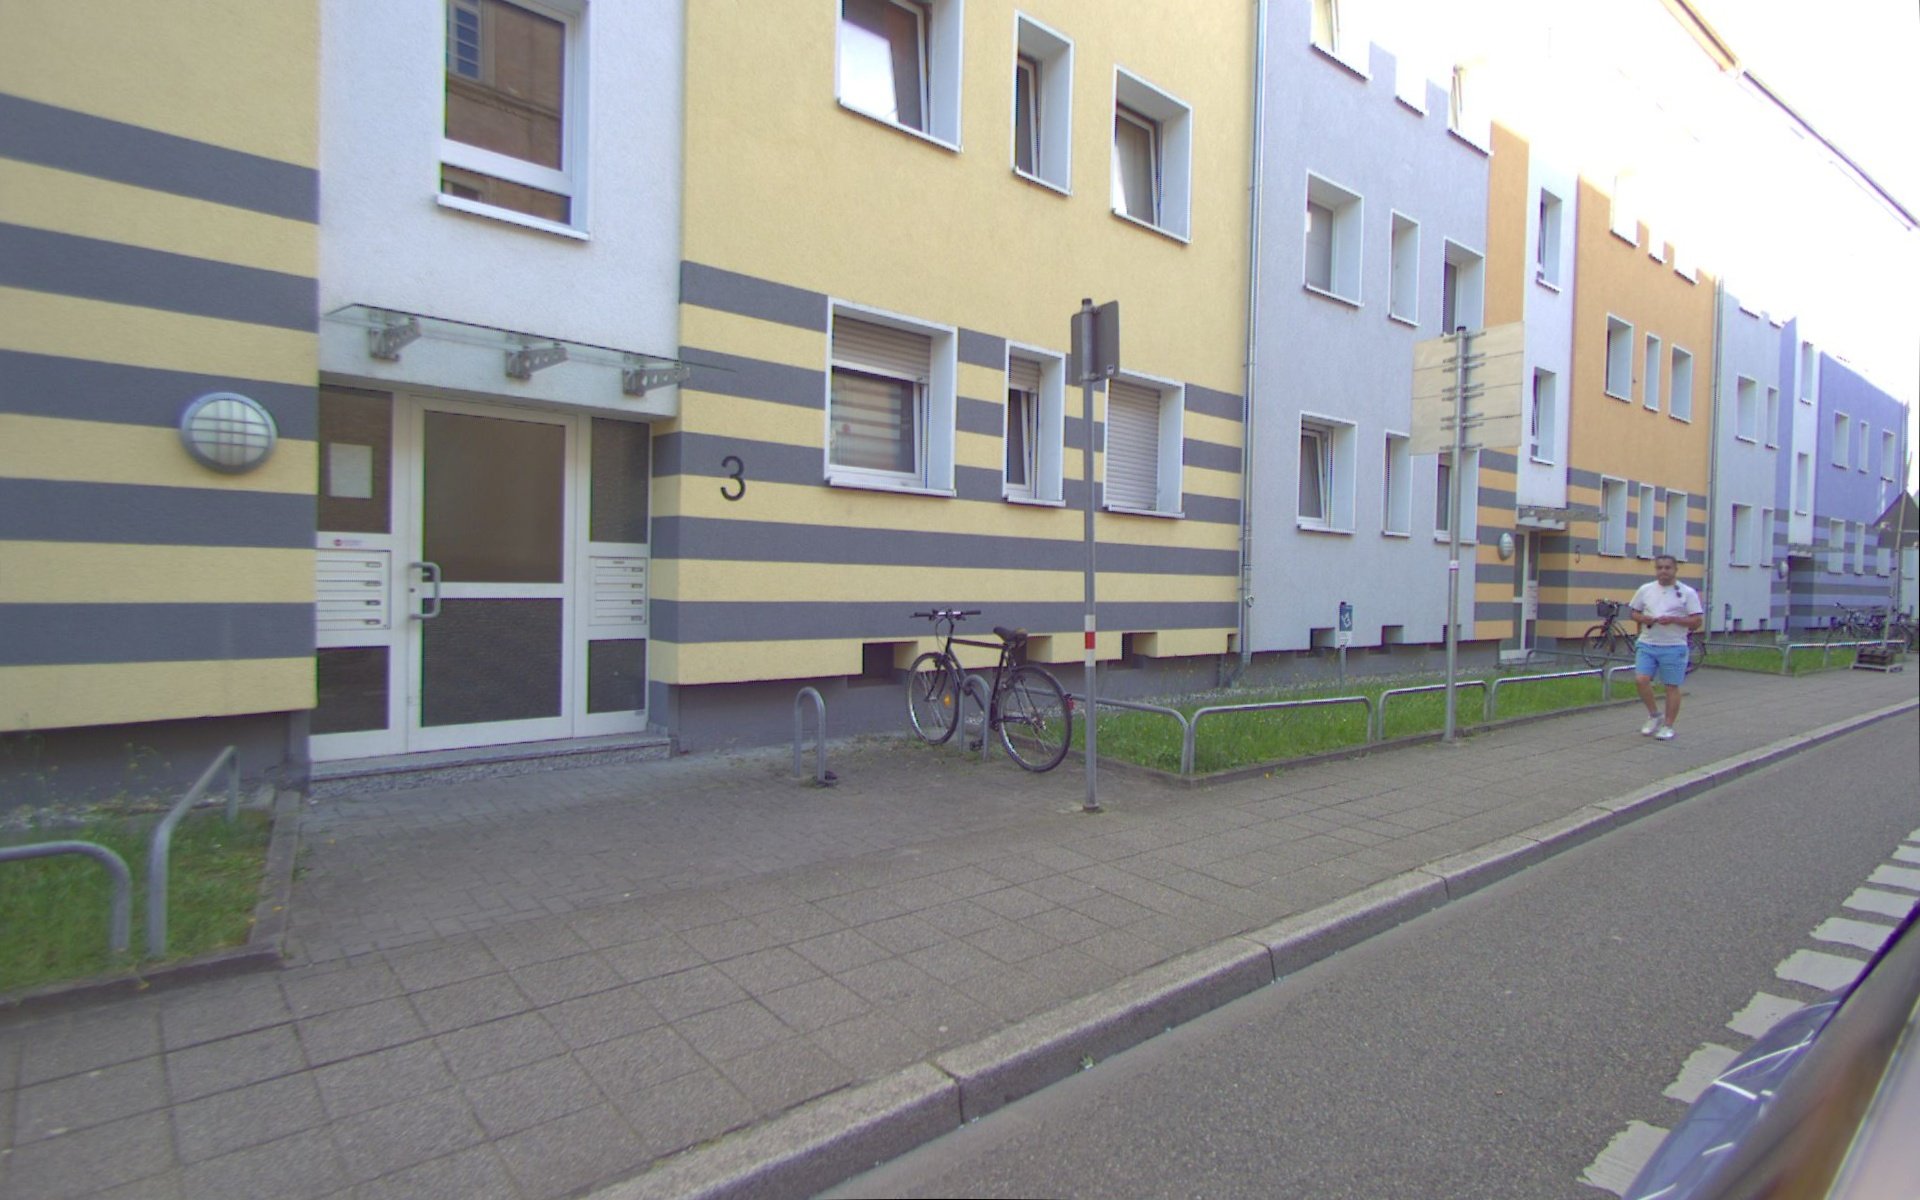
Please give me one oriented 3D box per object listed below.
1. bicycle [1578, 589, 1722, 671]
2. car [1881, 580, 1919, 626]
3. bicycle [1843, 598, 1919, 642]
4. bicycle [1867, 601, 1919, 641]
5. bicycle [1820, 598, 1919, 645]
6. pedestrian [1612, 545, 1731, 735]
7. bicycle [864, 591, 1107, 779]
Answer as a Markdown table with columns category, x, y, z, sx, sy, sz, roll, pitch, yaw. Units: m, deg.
| category | x | y | z | sx | sy | sz | roll | pitch | yaw |
| --- | --- | --- | --- | --- | --- | --- | --- | --- | --- |
| bicycle | 10.957 | 0.442 | 16.121 | 0.574 | 1.138 | 1.775 | 0 | 4 | -42 |
| car | 43.394 | 0.192 | 43.875 | 1.961 | 1.962 | 4.773 | 0 | 2 | -32 |
| bicycle | 23.638 | 0.503 | 25.624 | 0.572 | 1.007 | 1.779 | 0 | 4 | -33 |
| bicycle | 24.341 | 0.555 | 25.731 | 0.572 | 0.950 | 1.779 | 0 | 4 | -33 |
| bicycle | 22.473 | 0.508 | 24.957 | 0.572 | 1.007 | 1.779 | 0 | 4 | -33 |
| pedestrian | 6.683 | 0.342 | 9.511 | 0.819 | 1.692 | 0.644 | 0 | 2 | -39 |
| bicycle | 0.126 | 0.526 | 7.120 | 0.574 | 1.061 | 1.773 | -1 | 4 | -45 |
